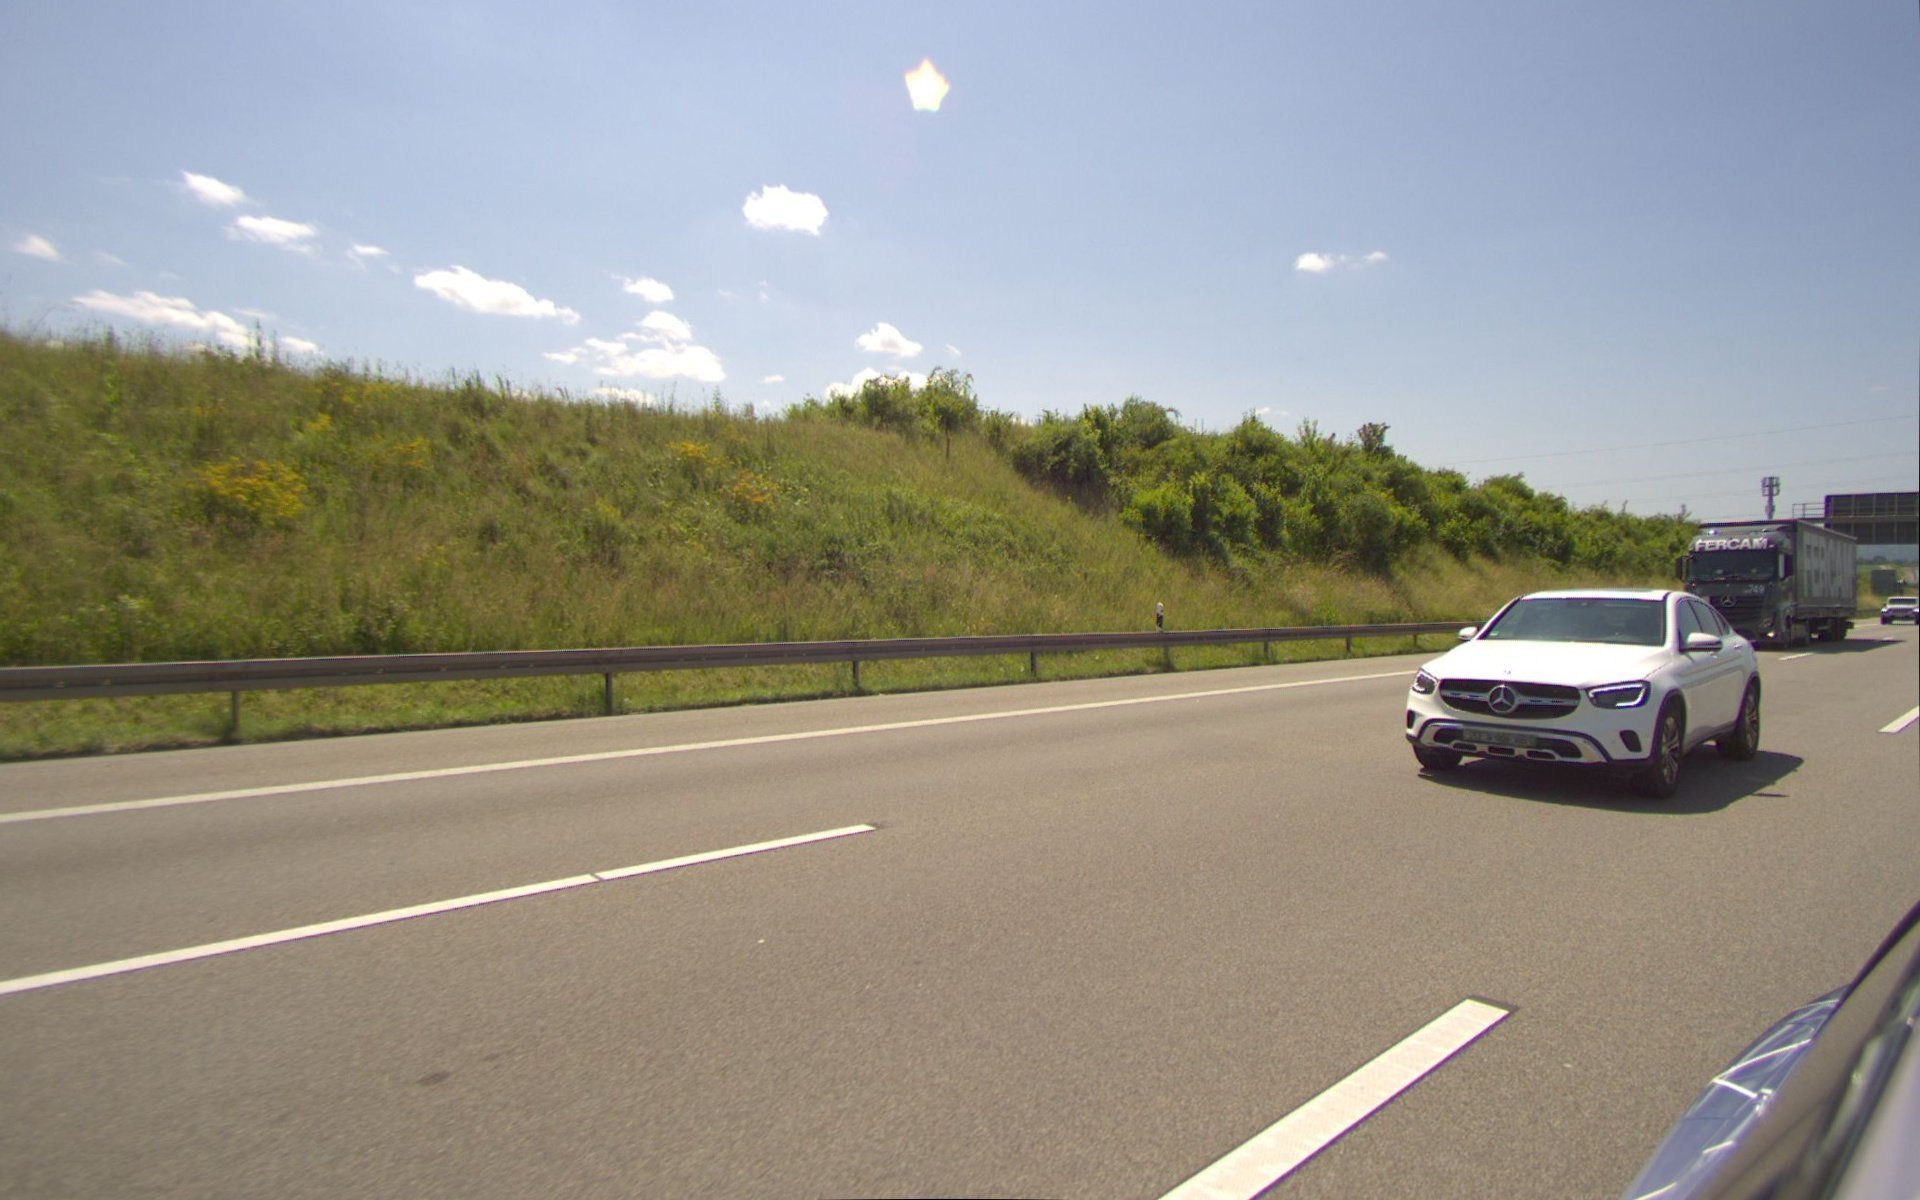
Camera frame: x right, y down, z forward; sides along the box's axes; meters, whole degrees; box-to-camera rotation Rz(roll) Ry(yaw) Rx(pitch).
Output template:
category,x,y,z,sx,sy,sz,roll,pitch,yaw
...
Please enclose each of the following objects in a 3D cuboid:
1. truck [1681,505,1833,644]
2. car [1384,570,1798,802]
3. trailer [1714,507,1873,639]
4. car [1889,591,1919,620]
category,x,y,z,sx,sy,sz,roll,pitch,yaw
truck,25.977,-0.792,32.870,6.672,4.071,2.756,-1,0,-42
car,6.073,0.557,9.411,5.141,1.600,1.917,-1,0,-42
trailer,30.860,-0.944,37.206,11.604,4.207,2.729,-1,1,-42
car,62.677,0.318,66.531,4.178,1.827,2.037,-1,0,-42
